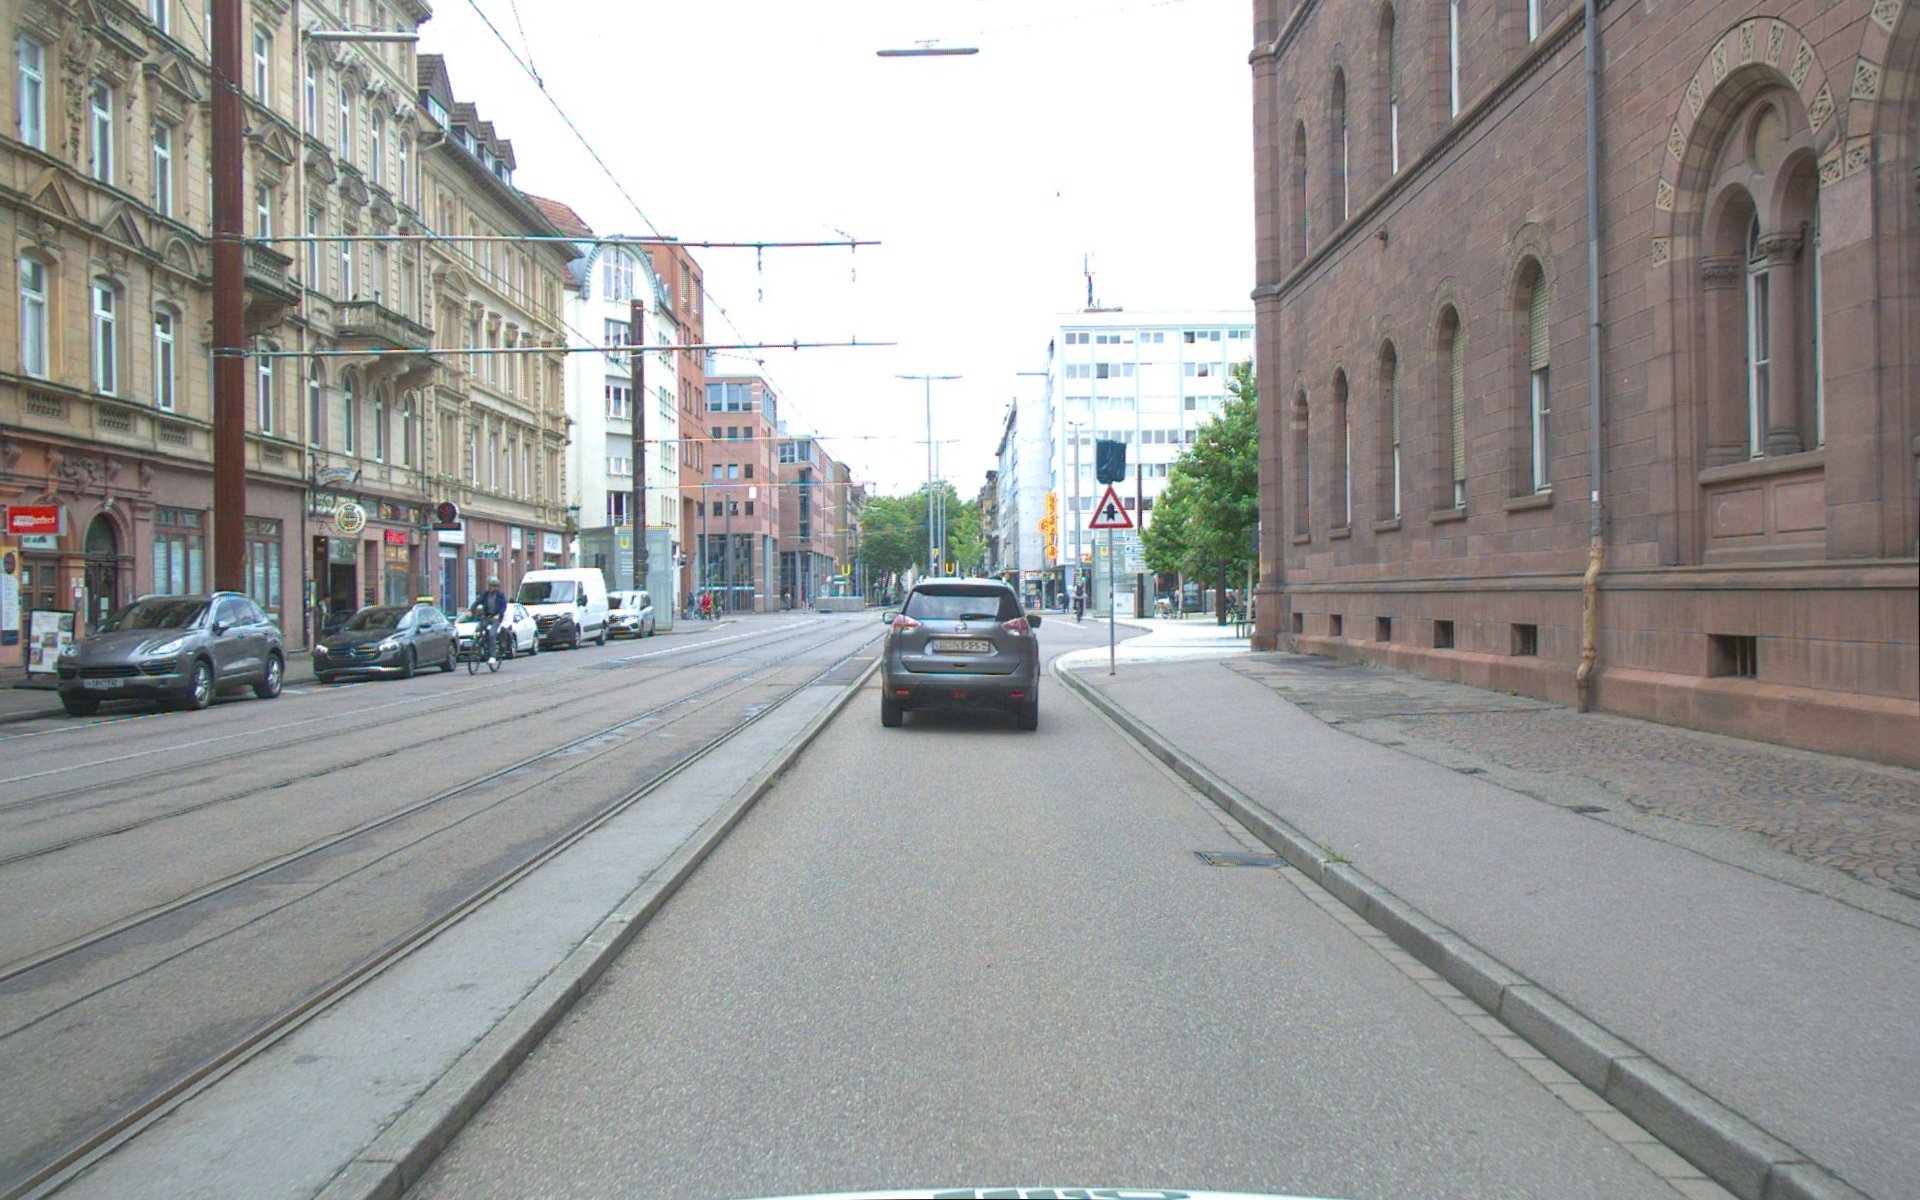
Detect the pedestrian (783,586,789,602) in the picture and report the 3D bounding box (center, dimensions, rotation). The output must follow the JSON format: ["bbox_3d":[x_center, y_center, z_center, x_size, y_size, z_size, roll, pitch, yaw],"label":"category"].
[{"bbox_3d":[-16.524,-0.558,157.018,0.442,1.559,0.519,0,0,-18],"label":"pedestrian"}]

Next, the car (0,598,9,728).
[{"bbox_3d":[-12.046,0.793,17.504,1.708,1.514,3.919,-2,1,-1],"label":"car"}]

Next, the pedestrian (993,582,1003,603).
[{"bbox_3d":[3.368,-0.669,146.341,0.718,1.776,0.662,0,0,-9],"label":"pedestrian"}]

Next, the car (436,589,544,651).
[{"bbox_3d":[-12.458,0.497,44.056,1.735,1.447,4.163,-3,0,-2],"label":"car"}]

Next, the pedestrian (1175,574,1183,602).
[{"bbox_3d":[12.789,-0.698,96.479,0.424,1.583,0.499,0,0,-1],"label":"pedestrian"}]

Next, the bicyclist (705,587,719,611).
[{"bbox_3d":[-15.095,-0.037,100.646,0.794,1.431,0.480,-1,0,-7],"label":"bicyclist"}]

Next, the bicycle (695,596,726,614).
[{"bbox_3d":[-15.179,0.284,100.629,1.870,1.039,0.480,-1,0,-8],"label":"bicycle"}]

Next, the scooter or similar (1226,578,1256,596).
[{"bbox_3d":[16.563,-0.747,97.629,1.561,0.965,0.722,-3,0,38],"label":"scooter or similar"}]

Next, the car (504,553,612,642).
[{"bbox_3d":[-12.563,-0.094,52.083,2.012,2.530,5.664,-3,0,-2],"label":"car"}]

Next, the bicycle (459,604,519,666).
[{"bbox_3d":[-9.663,0.698,33.985,0.573,1.194,2.045,-3,0,1],"label":"bicycle"}]

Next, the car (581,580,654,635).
[{"bbox_3d":[-12.881,0.268,62.451,1.864,1.897,4.518,-3,0,-2],"label":"car"}]

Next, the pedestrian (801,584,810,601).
[{"bbox_3d":[-16.292,-0.800,174.434,0.685,1.874,0.735,0,0,15],"label":"pedestrian"}]

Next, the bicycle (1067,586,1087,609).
[{"bbox_3d":[5.769,-0.121,81.645,0.883,1.063,3.278,-1,0,2],"label":"bicycle"}]

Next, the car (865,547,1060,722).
[{"bbox_3d":[-0.098,0.321,20.123,1.827,1.805,4.561,3,1,-6],"label":"car"}]

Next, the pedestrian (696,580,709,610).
[{"bbox_3d":[-14.782,-0.279,94.875,0.707,1.716,0.660,-1,-1,-11],"label":"pedestrian"}]

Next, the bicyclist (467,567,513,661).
[{"bbox_3d":[-9.658,0.282,34.006,0.632,1.916,1.028,0,0,1],"label":"bicyclist"}]

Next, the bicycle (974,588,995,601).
[{"bbox_3d":[2.162,-0.469,147.377,1.836,1.192,0.529,0,0,-15],"label":"bicycle"}]

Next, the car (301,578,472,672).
[{"bbox_3d":[-11.881,0.472,34.632,1.881,1.718,5.050,-3,0,-2],"label":"car"}]

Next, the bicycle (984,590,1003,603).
[{"bbox_3d":[2.966,-0.320,146.932,1.667,1.084,0.436,0,0,-14],"label":"bicycle"}]

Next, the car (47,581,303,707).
[{"bbox_3d":[-12.046,0.589,25.799,1.777,1.719,5.028,-2,1,-3],"label":"car"}]

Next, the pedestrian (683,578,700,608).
[{"bbox_3d":[-15.643,-0.418,96.376,0.854,1.716,0.659,-1,-1,-15],"label":"pedestrian"}]

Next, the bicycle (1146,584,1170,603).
[{"bbox_3d":[10.409,-0.348,86.770,0.645,0.995,1.752,-1,0,28],"label":"bicycle"}]

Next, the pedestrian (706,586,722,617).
[{"bbox_3d":[-15.383,0.074,103.342,0.878,1.923,0.798,1,-1,-3],"label":"pedestrian"}]

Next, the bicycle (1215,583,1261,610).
[{"bbox_3d":[11.623,-0.153,69.063,1.873,1.142,0.646,0,0,10],"label":"bicycle"}]

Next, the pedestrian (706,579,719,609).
[{"bbox_3d":[-14.092,-0.332,93.988,0.648,1.716,0.720,-1,-1,-13],"label":"pedestrian"}]

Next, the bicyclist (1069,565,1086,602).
[{"bbox_3d":[5.785,-0.804,81.484,0.817,1.844,0.878,0,0,2],"label":"bicyclist"}]
